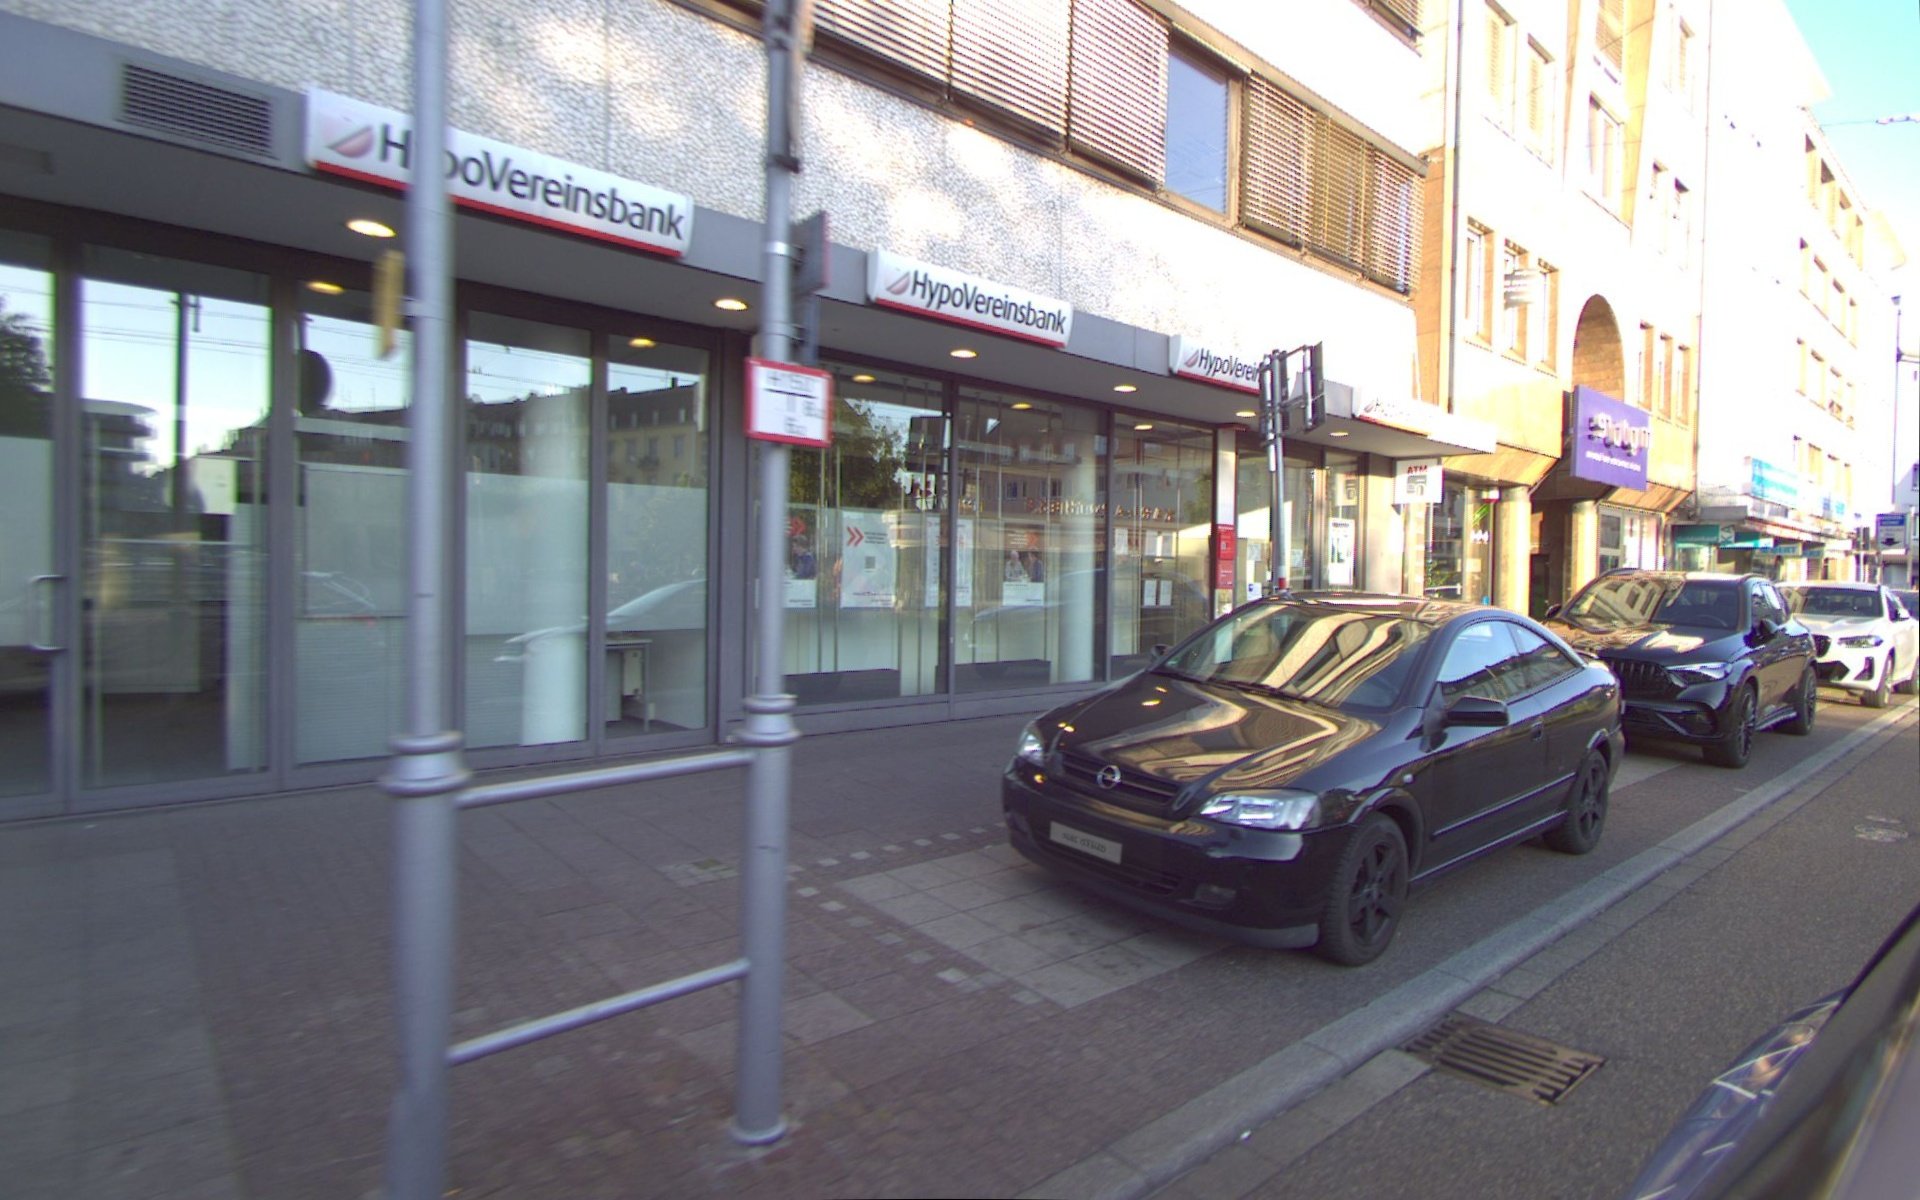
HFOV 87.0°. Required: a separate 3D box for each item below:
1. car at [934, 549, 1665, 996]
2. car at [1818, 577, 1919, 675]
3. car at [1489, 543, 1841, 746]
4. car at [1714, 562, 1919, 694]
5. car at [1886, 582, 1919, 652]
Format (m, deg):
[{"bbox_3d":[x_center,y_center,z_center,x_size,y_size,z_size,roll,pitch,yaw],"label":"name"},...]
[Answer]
[{"bbox_3d":[2.057,0.526,5.361,4.265,1.396,1.659,-1,6,-41],"label":"car"},{"bbox_3d":[17.160,0.399,18.333,4.753,1.571,1.812,-1,2,-42],"label":"car"},{"bbox_3d":[7.039,0.342,9.903,4.498,1.558,1.779,1,1,-41],"label":"car"},{"bbox_3d":[12.559,0.297,14.462,4.639,1.605,1.821,-1,2,-40],"label":"car"},{"bbox_3d":[22.881,0.365,23.442,4.082,1.452,1.733,-3,4,-42],"label":"car"}]
